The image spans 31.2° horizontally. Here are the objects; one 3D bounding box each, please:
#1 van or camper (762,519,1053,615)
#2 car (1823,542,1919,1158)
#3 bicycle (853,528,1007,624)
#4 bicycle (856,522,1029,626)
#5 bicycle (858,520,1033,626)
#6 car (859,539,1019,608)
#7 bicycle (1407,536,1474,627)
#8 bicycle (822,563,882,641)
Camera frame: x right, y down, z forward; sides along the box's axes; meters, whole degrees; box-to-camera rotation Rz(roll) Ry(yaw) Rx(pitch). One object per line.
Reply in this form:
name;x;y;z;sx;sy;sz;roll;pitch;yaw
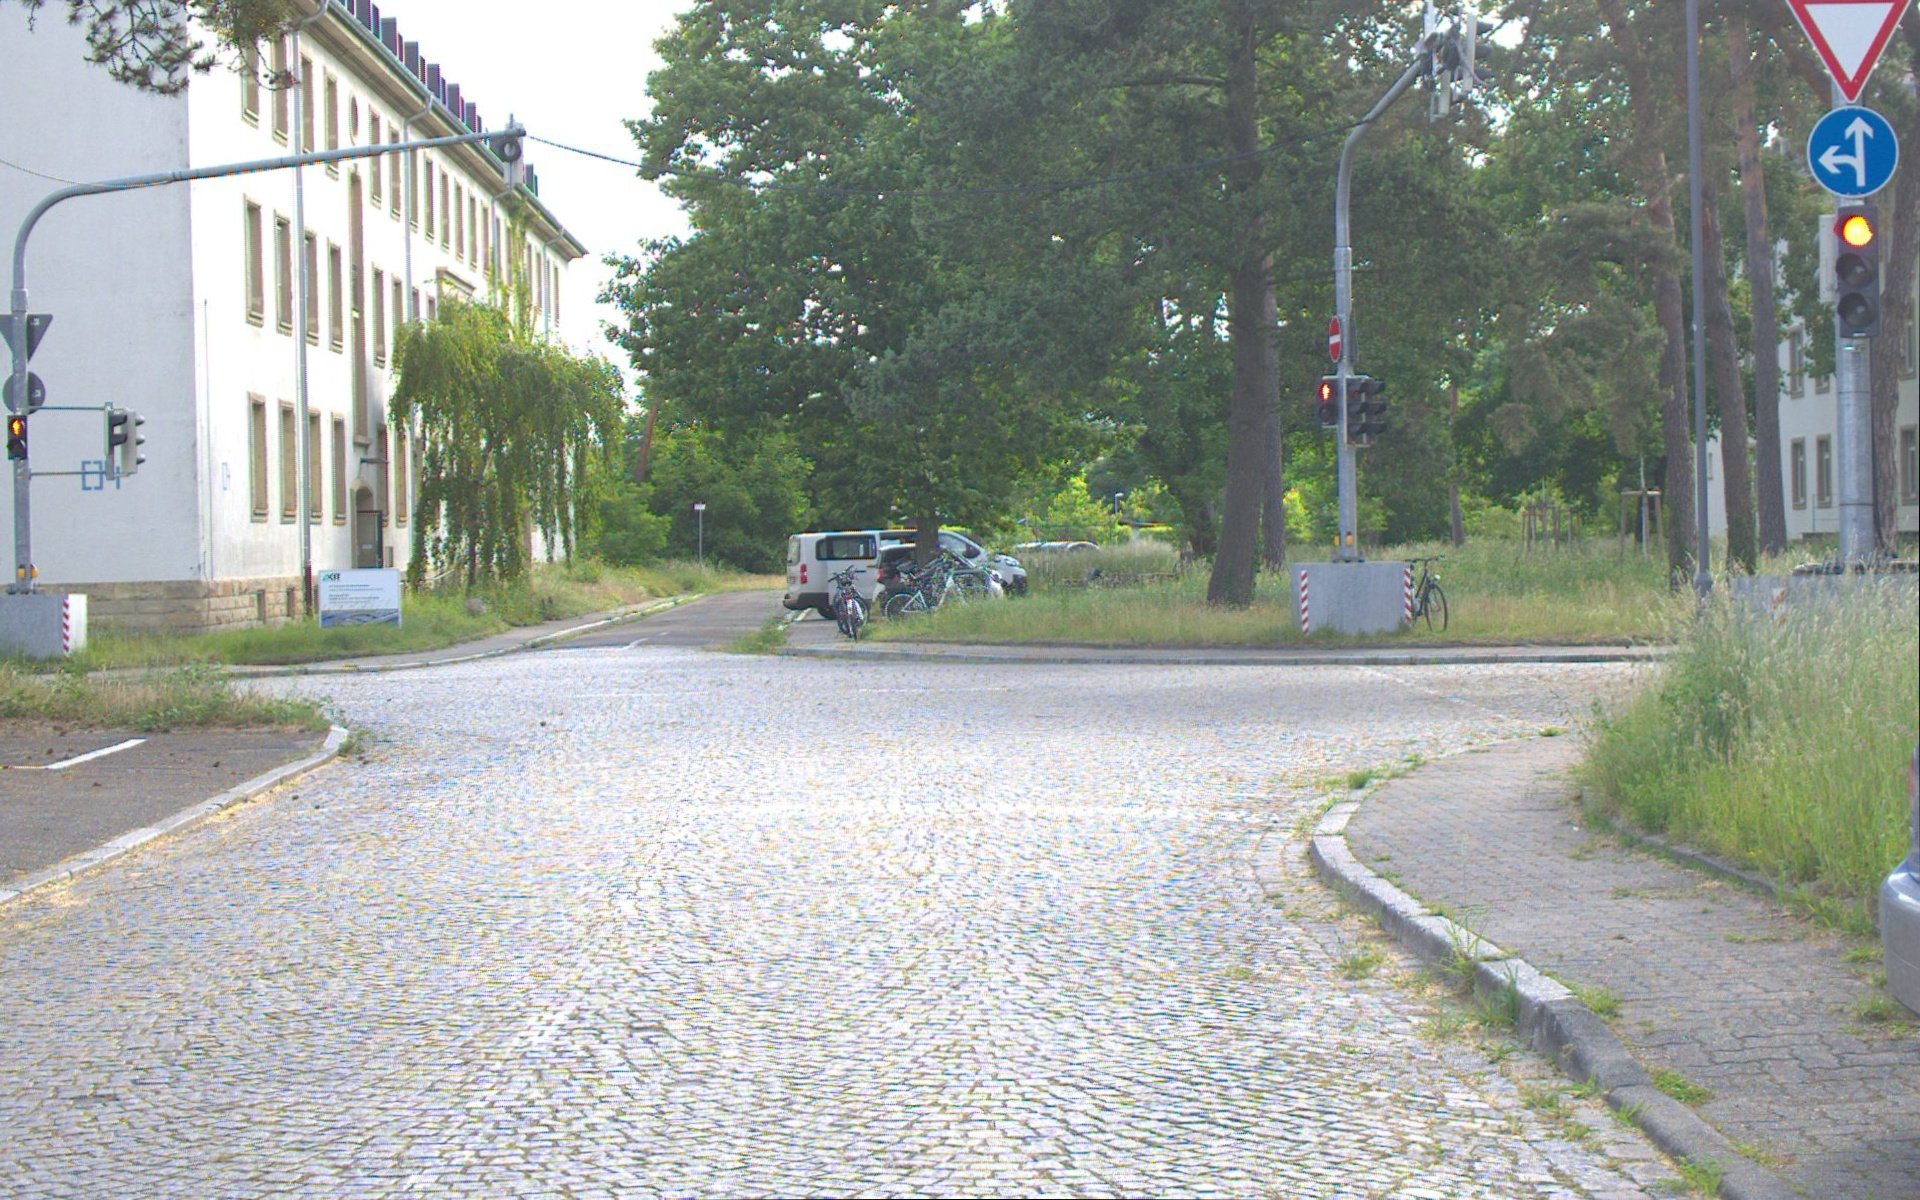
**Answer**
van or camper;-1.156;-0.733;75.125;6.030;1.942;2.001;-1;1;-14
car;4.202;0.549;8.160;3.842;1.466;1.642;-2;1;-1
bicycle;-0.539;-0.444;63.261;2.775;1.688;1.120;1;1;0
bicycle;-0.301;-0.445;58.358;2.775;1.688;1.120;-1;1;-8
bicycle;-0.252;-0.452;57.164;2.775;1.688;1.120;-1;1;-6
car;-0.452;-0.564;71.558;3.137;1.349;1.620;-1;1;-7
bicycle;6.340;-0.256;45.442;0.724;1.165;2.736;1;1;5
bicycle;-1.648;0.013;52.873;0.725;1.104;2.462;-5;1;0
